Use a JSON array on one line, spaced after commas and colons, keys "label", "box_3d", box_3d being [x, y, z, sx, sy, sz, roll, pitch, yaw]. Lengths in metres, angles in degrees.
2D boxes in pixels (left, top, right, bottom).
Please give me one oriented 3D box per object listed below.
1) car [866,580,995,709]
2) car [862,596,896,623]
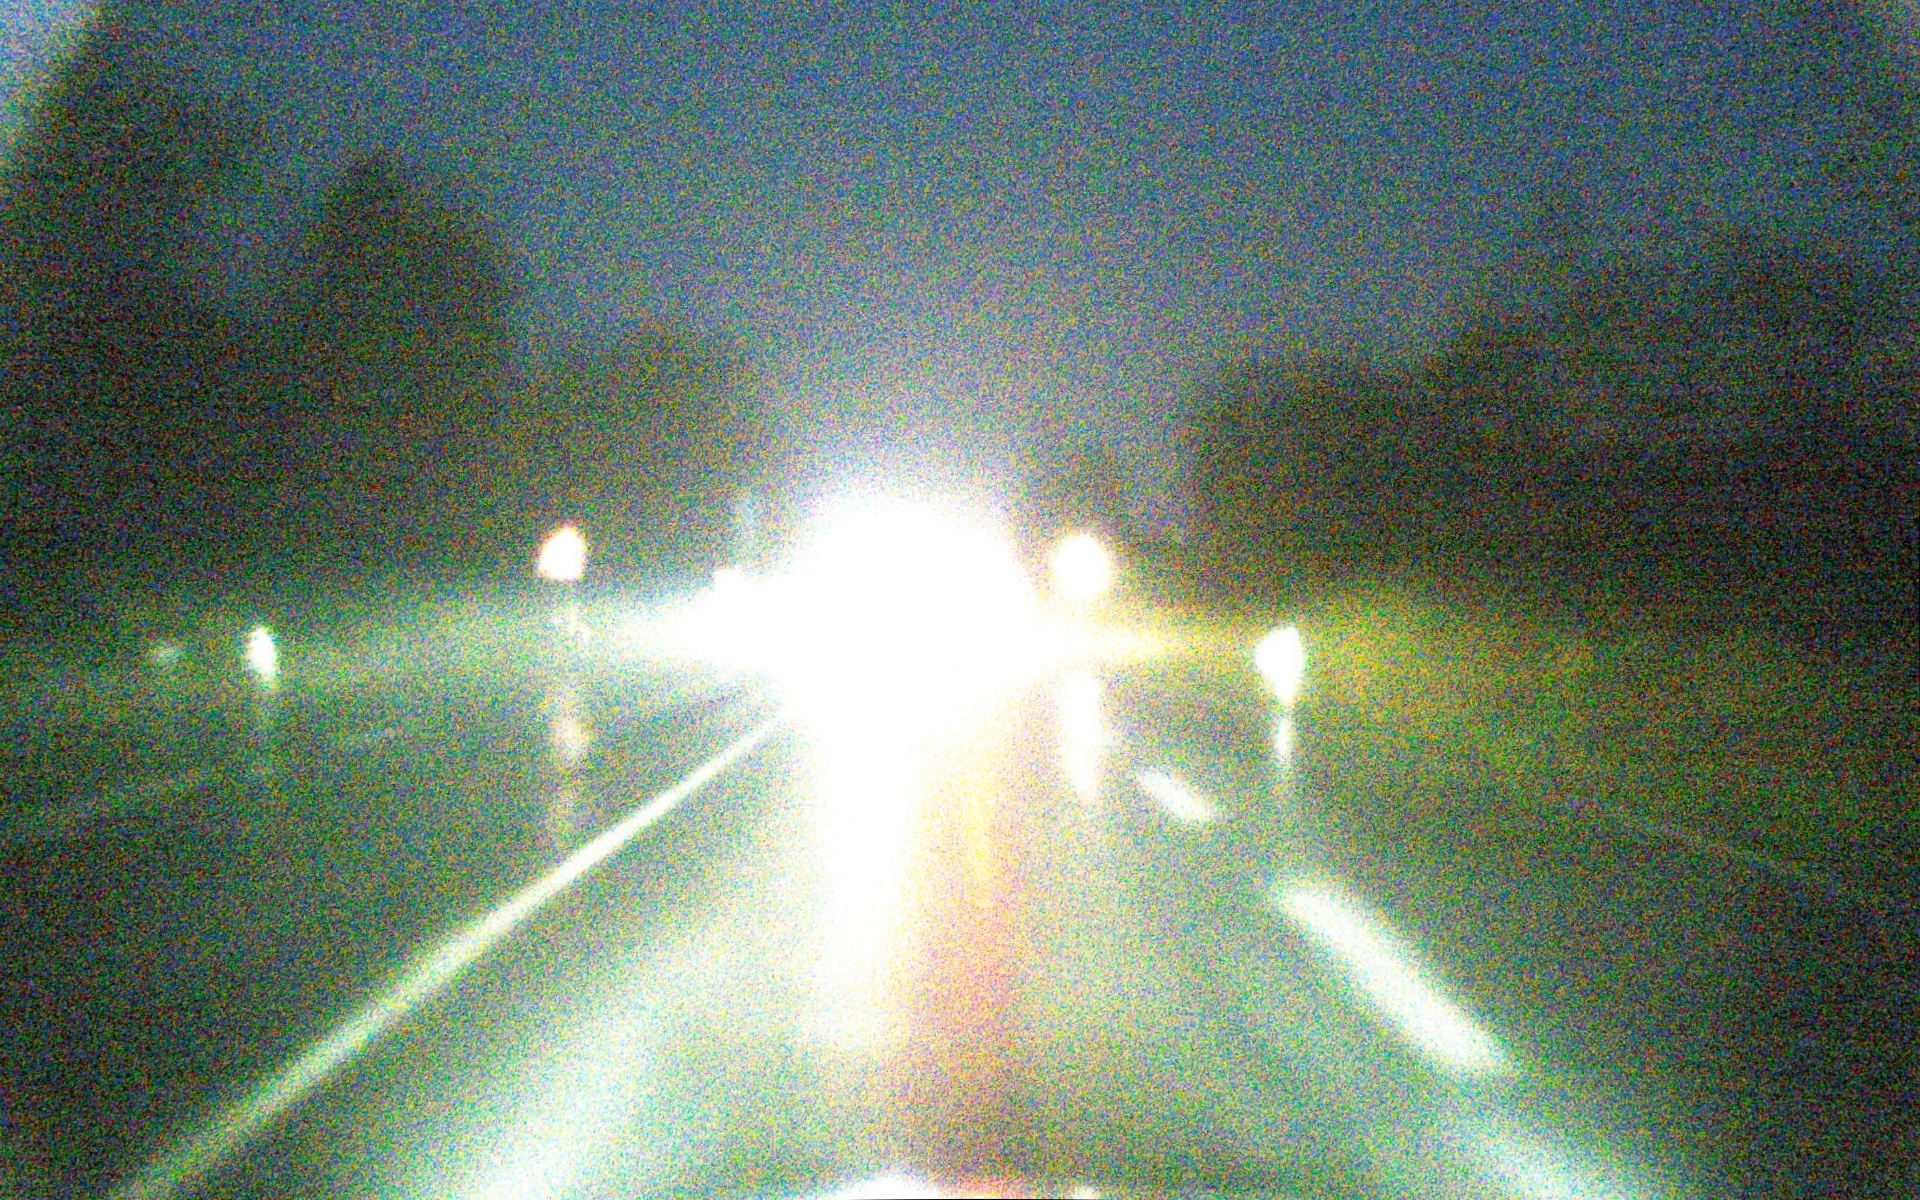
[{"label": "car", "box_3d": [-0.534, 0.711, 28.700, 2.051, 2.049, 3.999, 1, 0, -2]}, {"label": "car", "box_3d": [-4.656, 0.524, 94.573, 1.713, 1.451, 3.681, -1, 0, -6]}]
